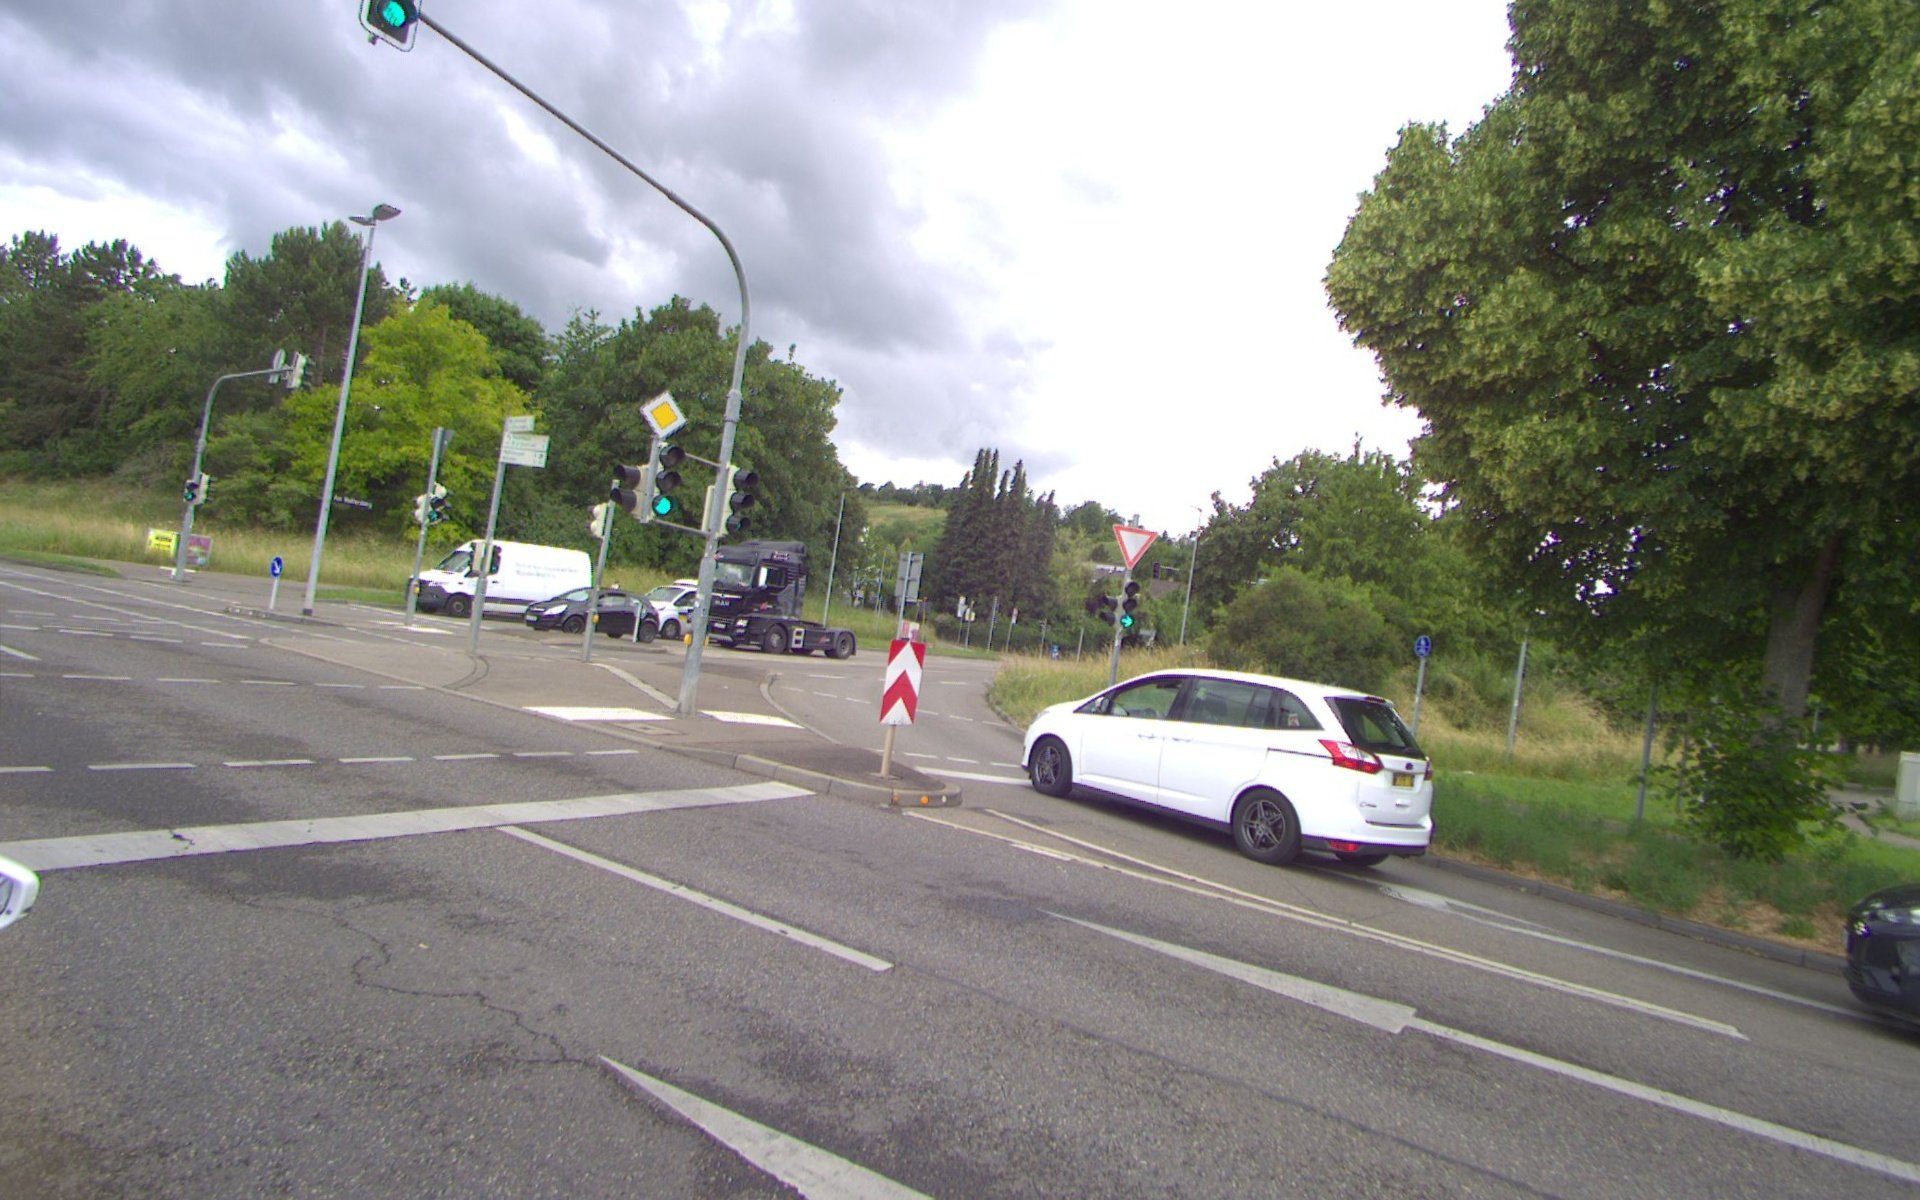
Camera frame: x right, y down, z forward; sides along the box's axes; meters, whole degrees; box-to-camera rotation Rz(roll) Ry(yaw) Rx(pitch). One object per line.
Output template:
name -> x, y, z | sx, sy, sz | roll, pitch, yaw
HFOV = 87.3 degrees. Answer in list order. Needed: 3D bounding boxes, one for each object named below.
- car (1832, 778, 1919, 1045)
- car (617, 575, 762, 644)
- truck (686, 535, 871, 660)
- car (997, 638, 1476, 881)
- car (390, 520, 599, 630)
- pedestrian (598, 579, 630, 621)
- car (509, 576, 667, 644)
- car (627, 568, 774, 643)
car -> 7.136, 2.040, 5.358 | 3.562, 1.445, 1.622 | 6, -5, 39
car -> -9.718, 0.404, 36.532 | 1.999, 1.918, 4.862 | 7, -1, 31
truck -> -6.211, 0.025, 35.338 | 2.682, 3.580, 6.061 | 7, -1, 32
car -> 2.557, 1.488, 10.321 | 1.772, 1.611, 4.414 | 12, -5, -37
car -> -15.335, -0.735, 33.594 | 2.100, 2.814, 5.903 | 7, -1, 32
pedestrian -> -15.407, -0.001, 44.790 | 0.803, 1.696, 0.789 | 7, -1, 33
car -> -10.605, 0.336, 28.927 | 1.703, 1.453, 3.927 | 7, -1, 31
car -> -10.425, 0.290, 40.902 | 2.100, 2.316, 5.709 | 7, -1, 32
